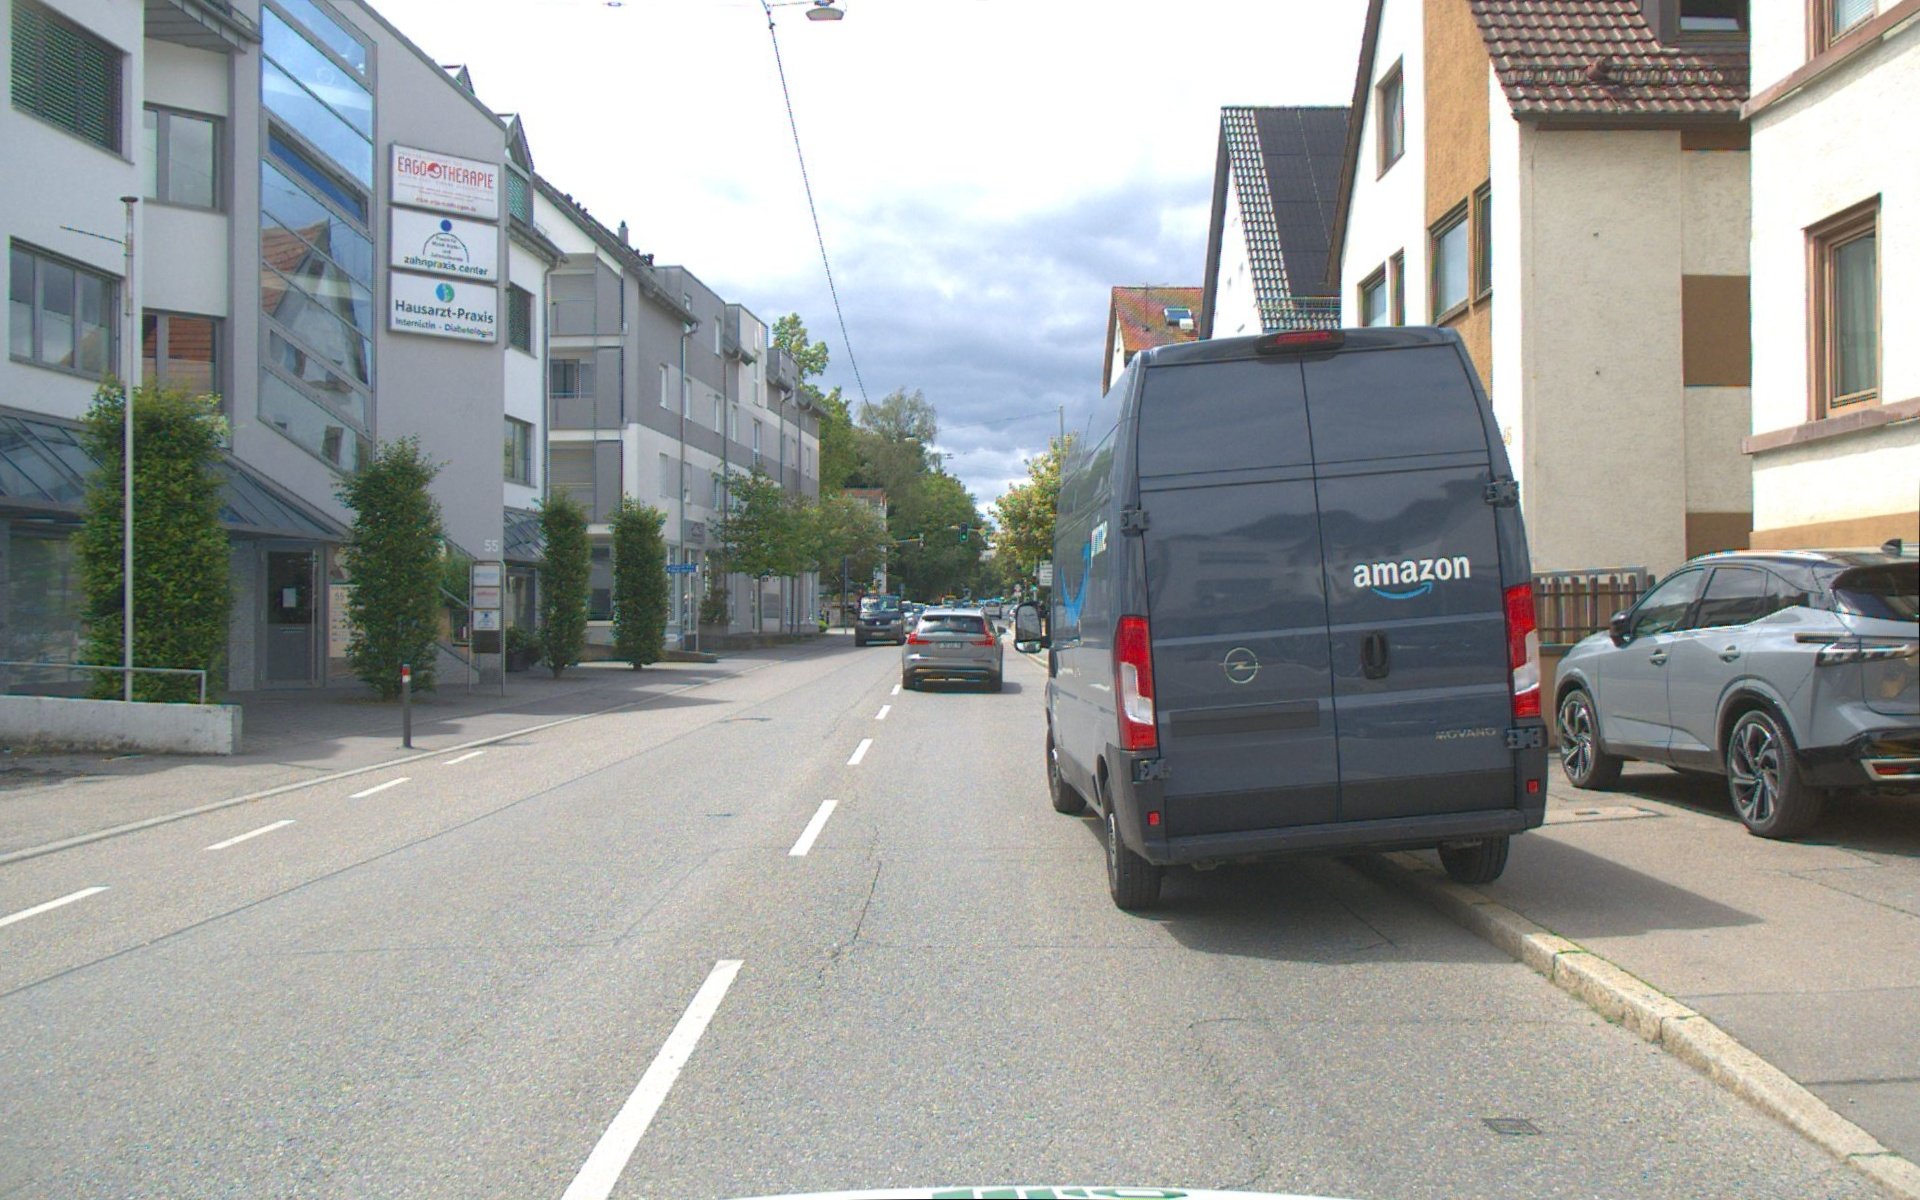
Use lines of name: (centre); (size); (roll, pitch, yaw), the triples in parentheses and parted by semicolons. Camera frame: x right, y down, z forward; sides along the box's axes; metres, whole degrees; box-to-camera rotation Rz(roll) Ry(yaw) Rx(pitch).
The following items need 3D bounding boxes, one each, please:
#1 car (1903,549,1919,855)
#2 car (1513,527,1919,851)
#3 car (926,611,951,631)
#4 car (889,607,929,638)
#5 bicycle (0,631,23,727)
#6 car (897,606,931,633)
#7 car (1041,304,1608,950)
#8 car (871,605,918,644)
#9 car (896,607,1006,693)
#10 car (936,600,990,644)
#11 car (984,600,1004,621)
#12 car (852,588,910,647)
car: (5.621, 0.546, 5.994); (1.839, 1.472, 4.306); (-1, 2, -2)
car: (5.336, 0.438, 10.780); (1.823, 1.640, 4.585); (-2, 0, -1)
car: (-1.814, 1.757, 138.370); (2.062, 1.624, 4.648); (-1, 0, -1)
car: (-2.731, 1.222, 89.654); (2.062, 1.624, 4.648); (-1, 0, -1)
bicycle: (-11.548, 0.926, 18.795); (0.617, 1.114, 2.003); (-1, 0, 1)
car: (-2.881, 1.235, 104.587); (2.062, 1.624, 4.648); (-1, 0, -1)
car: (1.755, 0.131, 10.129); (2.206, 2.844, 5.568); (0, 0, 0)
car: (-3.030, 1.136, 77.516); (2.062, 1.739, 4.764); (-1, 0, -1)
car: (-0.104, 0.890, 31.283); (1.857, 1.479, 3.969); (1, 0, 2)
car: (0.145, 0.777, 59.719); (1.857, 1.472, 3.969); (1, 0, 1)
car: (3.392, 1.014, 165.666); (1.952, 2.049, 4.000); (0, 0, 1)
car: (-3.076, 0.680, 65.518); (2.063, 2.158, 4.764); (-2, 0, -1)
